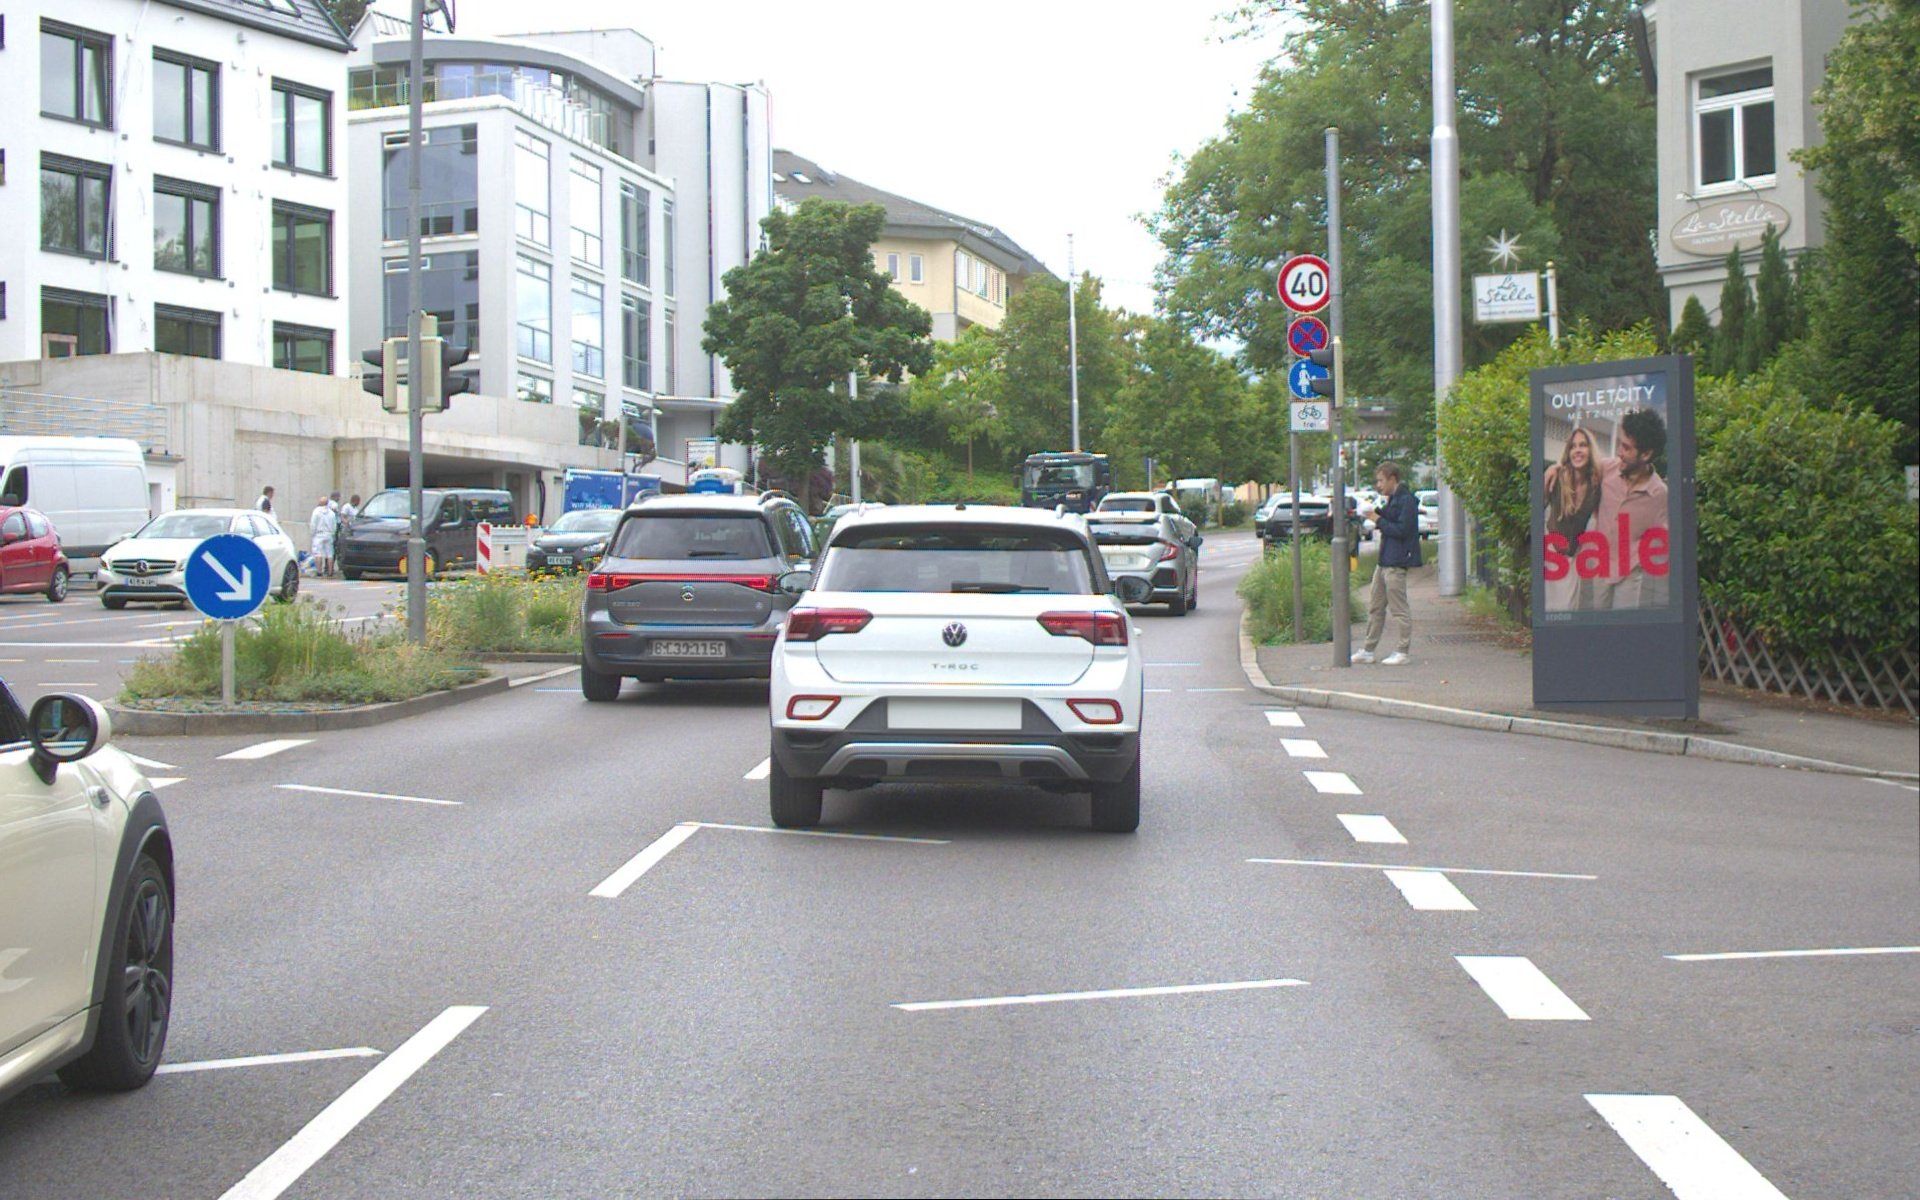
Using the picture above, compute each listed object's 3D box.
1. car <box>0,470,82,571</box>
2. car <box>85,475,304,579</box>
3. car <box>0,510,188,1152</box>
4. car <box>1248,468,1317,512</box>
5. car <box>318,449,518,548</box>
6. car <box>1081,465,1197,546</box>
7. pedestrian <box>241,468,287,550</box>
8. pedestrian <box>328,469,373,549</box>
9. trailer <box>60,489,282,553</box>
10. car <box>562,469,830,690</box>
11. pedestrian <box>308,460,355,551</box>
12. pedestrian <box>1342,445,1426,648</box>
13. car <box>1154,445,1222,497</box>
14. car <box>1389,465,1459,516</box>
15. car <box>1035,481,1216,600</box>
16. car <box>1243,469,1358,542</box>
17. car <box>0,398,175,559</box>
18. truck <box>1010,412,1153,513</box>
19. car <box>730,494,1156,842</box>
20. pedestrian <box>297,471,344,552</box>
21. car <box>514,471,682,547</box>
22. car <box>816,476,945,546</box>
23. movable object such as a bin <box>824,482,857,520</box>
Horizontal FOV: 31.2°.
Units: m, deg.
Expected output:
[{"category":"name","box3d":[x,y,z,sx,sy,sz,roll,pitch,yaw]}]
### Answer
[{"category":"car","box3d":[-14.508,-1.186,50.723,1.622,1.460,3.926,0,2,8]},{"category":"car","box3d":[-11.055,-1.074,49.905,1.652,1.388,4.143,2,2,9]},{"category":"car","box3d":[-2.922,0.525,7.484,1.628,1.388,3.566,-1,2,1]},{"category":"car","box3d":[11.362,-3.864,120.892,1.697,1.491,4.483,1,2,14]},{"category":"car","box3d":[-11.149,-2.106,71.130,1.984,1.960,5.214,0,2,17]},{"category":"car","box3d":[3.869,-2.041,73.528,1.859,1.646,4.634,-1,2,11]},{"category":"pedestrian","box3d":[-14.135,-1.851,69.821,0.626,1.634,0.671,2,2,19]},{"category":"pedestrian","box3d":[-12.790,-1.907,72.125,0.674,1.634,0.672,0,2,-36]},{"category":"trailer","box3d":[-14.496,-1.475,63.432,2.247,1.108,4.620,0,2,12]},{"category":"car","box3d":[-2.087,-0.232,28.349,1.813,1.646,4.636,-1,2,0]},{"category":"pedestrian","box3d":[-12.987,-1.953,71.038,0.674,1.834,0.672,0,2,-36]},{"category":"pedestrian","box3d":[3.884,-0.496,31.528,0.693,1.827,0.620,1,2,4]},{"category":"car","box3d":[10.392,-5.847,156.218,2.070,2.297,5.462,0,2,15]},{"category":"car","box3d":[14.082,-3.318,104.166,1.859,1.495,4.054,-1,2,11]},{"category":"car","box3d":[2.366,-0.839,48.031,1.874,1.496,4.553,3,2,10]},{"category":"car","box3d":[7.634,-2.084,76.725,1.874,1.496,4.552,3,2,13]},{"category":"car","box3d":[-15.799,-2.025,57.541,2.232,2.559,7.419,0,2,12]},{"category":"truck","box3d":[3.816,-4.195,105.505,2.962,2.960,8.975,1,2,11]},{"category":"car","box3d":[-0.194,0.248,17.381,1.811,1.534,3.690,-1,2,-5]},{"category":"pedestrian","box3d":[-13.005,-1.800,69.922,0.674,1.634,0.672,0,2,-36]},{"category":"car","box3d":[-7.068,-1.772,67.474,1.627,1.388,3.853,3,2,22]},{"category":"car","box3d":[-1.734,-1.988,76.959,1.693,1.496,4.552,1,2,14]},{"category":"movable object such as a bin","box3d":[-3.116,-2.585,89.796,0.646,0.986,0.659,1,2,22]}]
